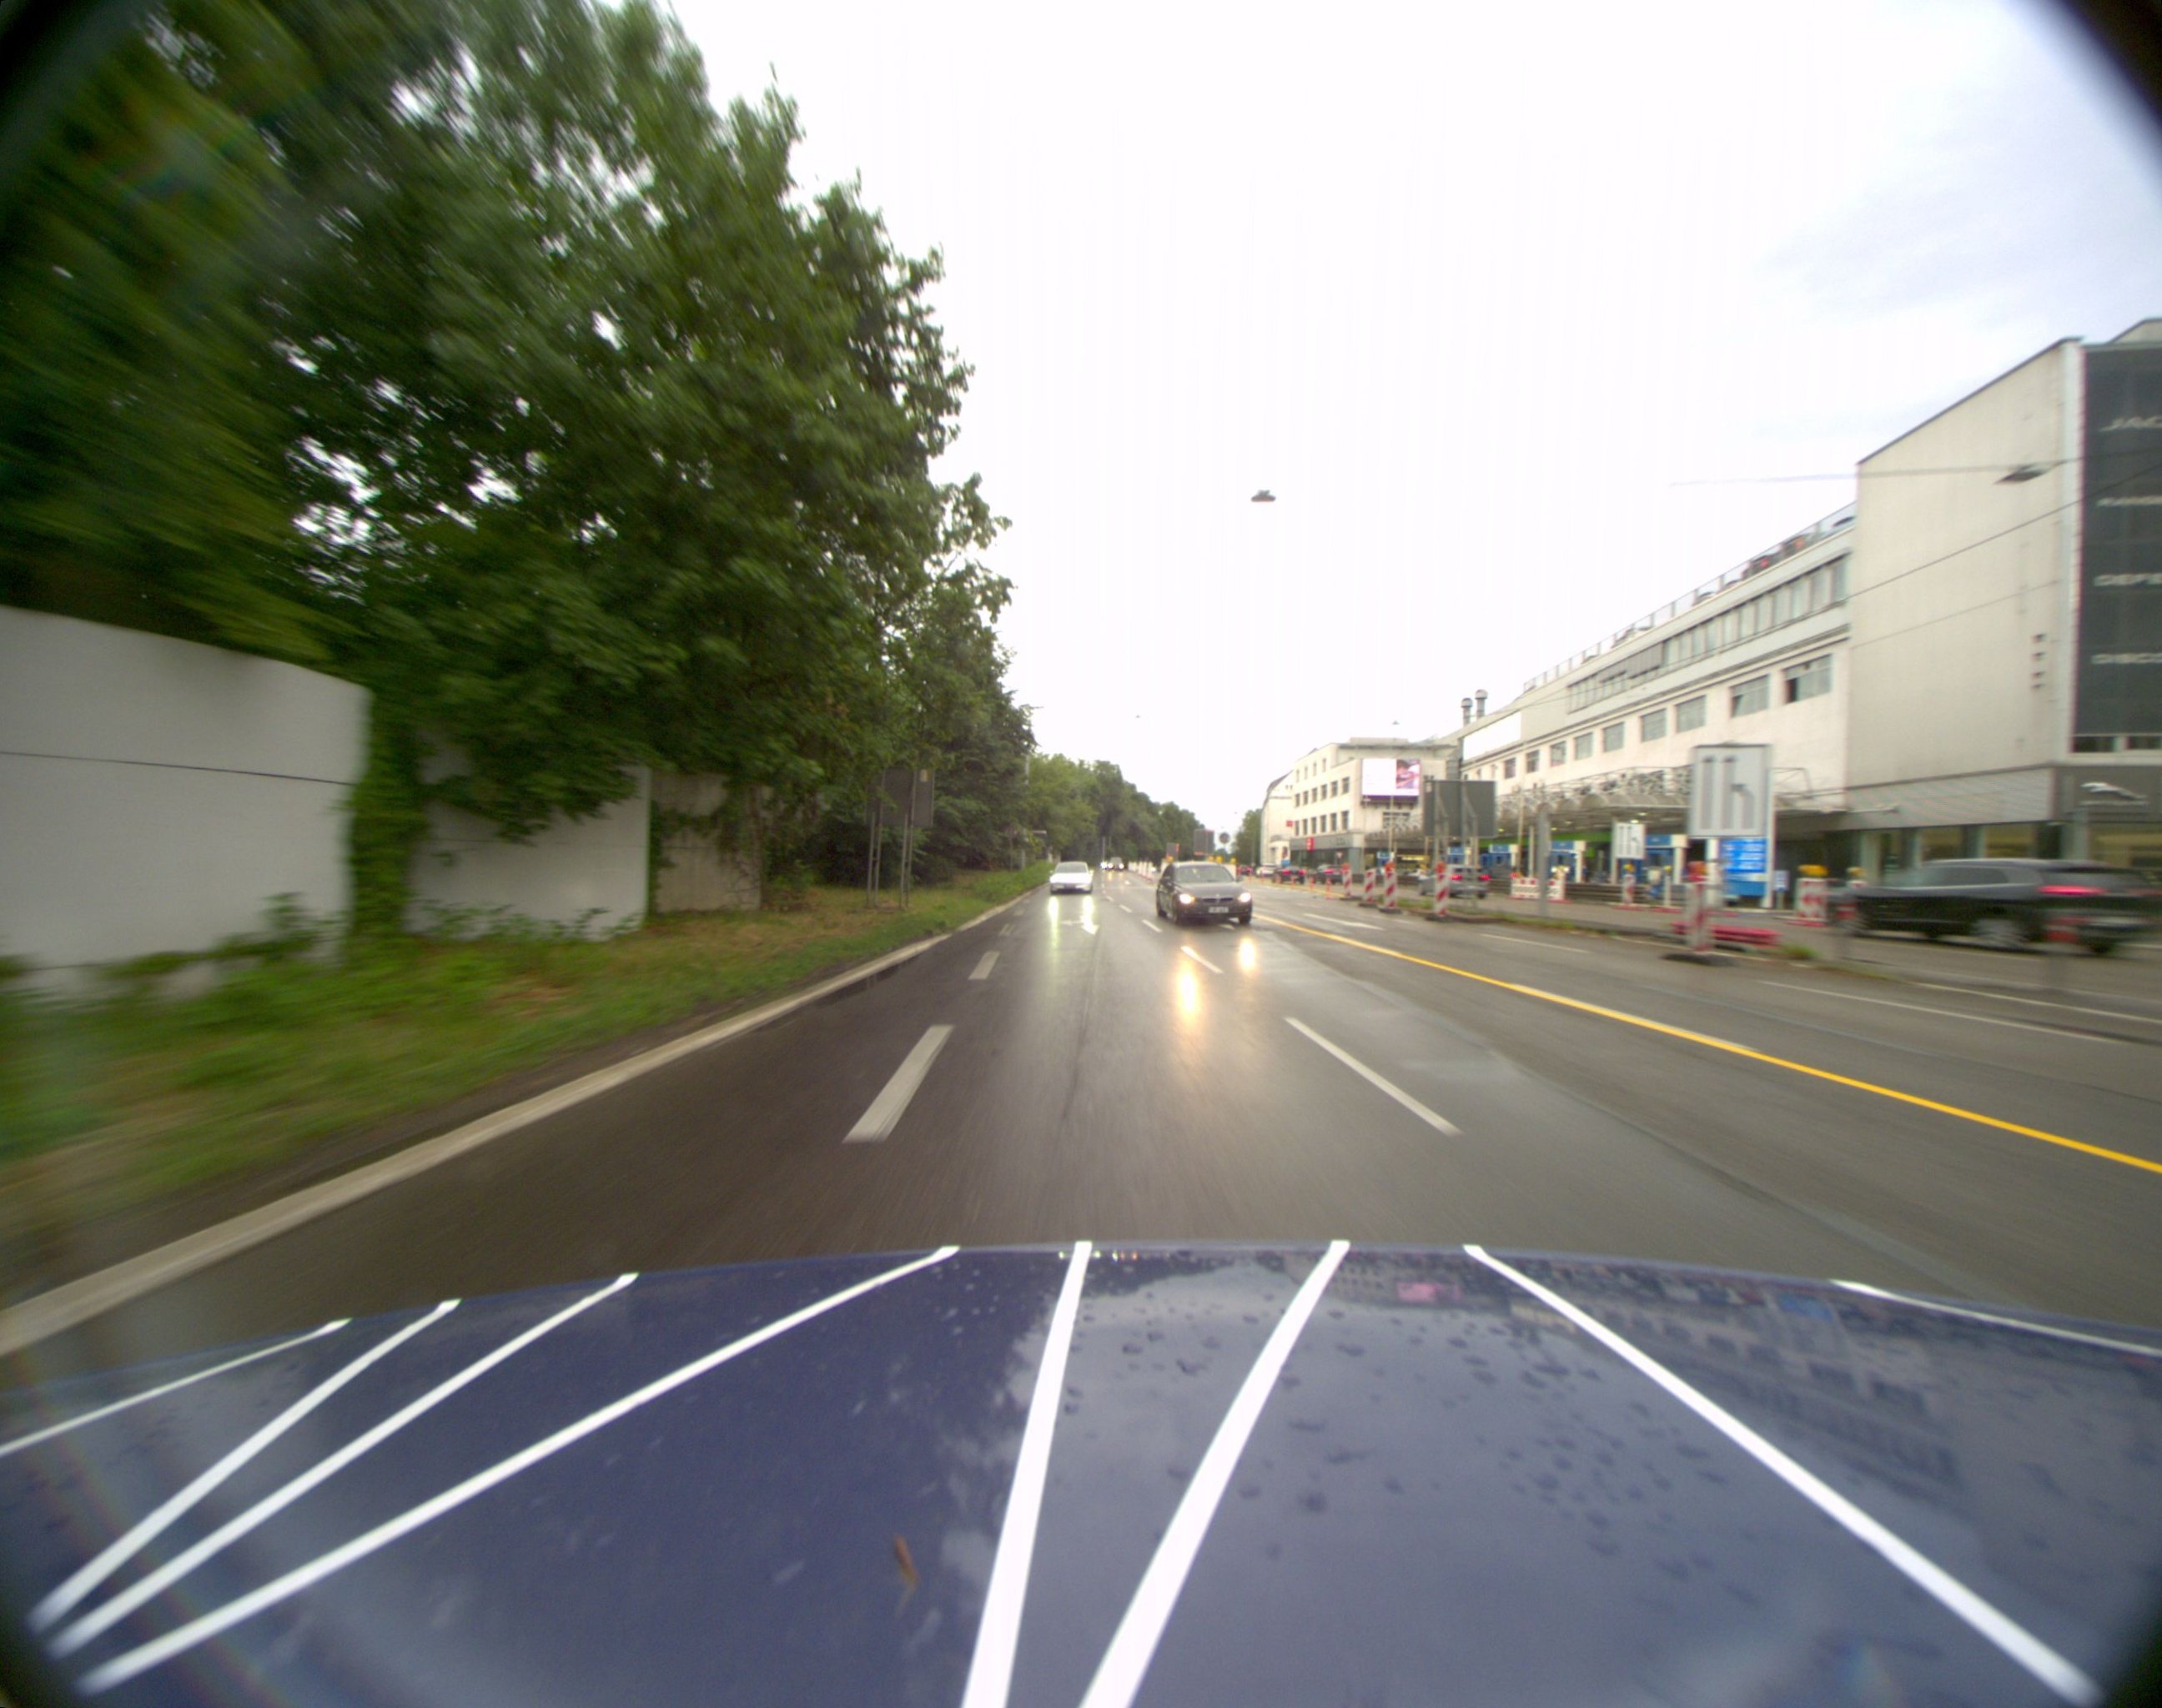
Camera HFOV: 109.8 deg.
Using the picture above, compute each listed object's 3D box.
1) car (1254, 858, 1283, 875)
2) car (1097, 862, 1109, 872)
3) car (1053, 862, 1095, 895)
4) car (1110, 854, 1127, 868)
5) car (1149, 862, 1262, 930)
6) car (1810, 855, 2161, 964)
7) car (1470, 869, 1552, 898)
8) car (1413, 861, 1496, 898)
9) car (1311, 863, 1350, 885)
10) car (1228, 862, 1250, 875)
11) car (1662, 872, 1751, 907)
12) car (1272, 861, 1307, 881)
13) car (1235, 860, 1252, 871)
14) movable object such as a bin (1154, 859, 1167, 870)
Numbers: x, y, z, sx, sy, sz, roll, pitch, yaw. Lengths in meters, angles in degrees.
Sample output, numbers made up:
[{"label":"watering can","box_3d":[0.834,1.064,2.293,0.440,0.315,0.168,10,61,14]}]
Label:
[{"label":"car","box_3d":[20.478,1.343,83.158,1.984,1.697,4.832,2,0,2]},{"label":"car","box_3d":[3.448,2.039,118.383,1.741,1.477,3.919,-1,0,4]},{"label":"car","box_3d":[-0.260,1.115,35.974,1.839,1.424,4.273,-1,0,1]},{"label":"car","box_3d":[4.783,0.884,96.098,1.998,1.739,4.001,2,0,4]},{"label":"car","box_3d":[2.961,0.956,18.922,1.765,1.441,4.175,1,0,-5]},{"label":"car","box_3d":[17.103,0.906,14.609,1.849,1.727,4.605,2,0,3]},{"label":"car","box_3d":[29.415,1.968,52.097,4.465,1.669,2.019,3,0,43]},{"label":"car","box_3d":[17.269,1.144,35.356,1.812,1.549,4.301,1,0,2]},{"label":"car","box_3d":[18.872,1.476,57.672,1.756,1.505,4.000,2,1,3]},{"label":"car","box_3d":[18.402,1.660,88.729,1.739,1.396,4.289,1,0,2]},{"label":"car","box_3d":[31.058,1.715,37.890,1.655,1.526,3.758,3,0,8]},{"label":"car","box_3d":[15.325,1.239,55.982,1.692,1.346,4.116,2,0,5]},{"label":"car","box_3d":[24.017,1.662,112.416,1.714,1.527,4.078,2,0,2]},{"label":"movable object such as a bin","box_3d":[14.821,1.965,141.185,1.997,2.099,3.853,2,-1,10]}]
